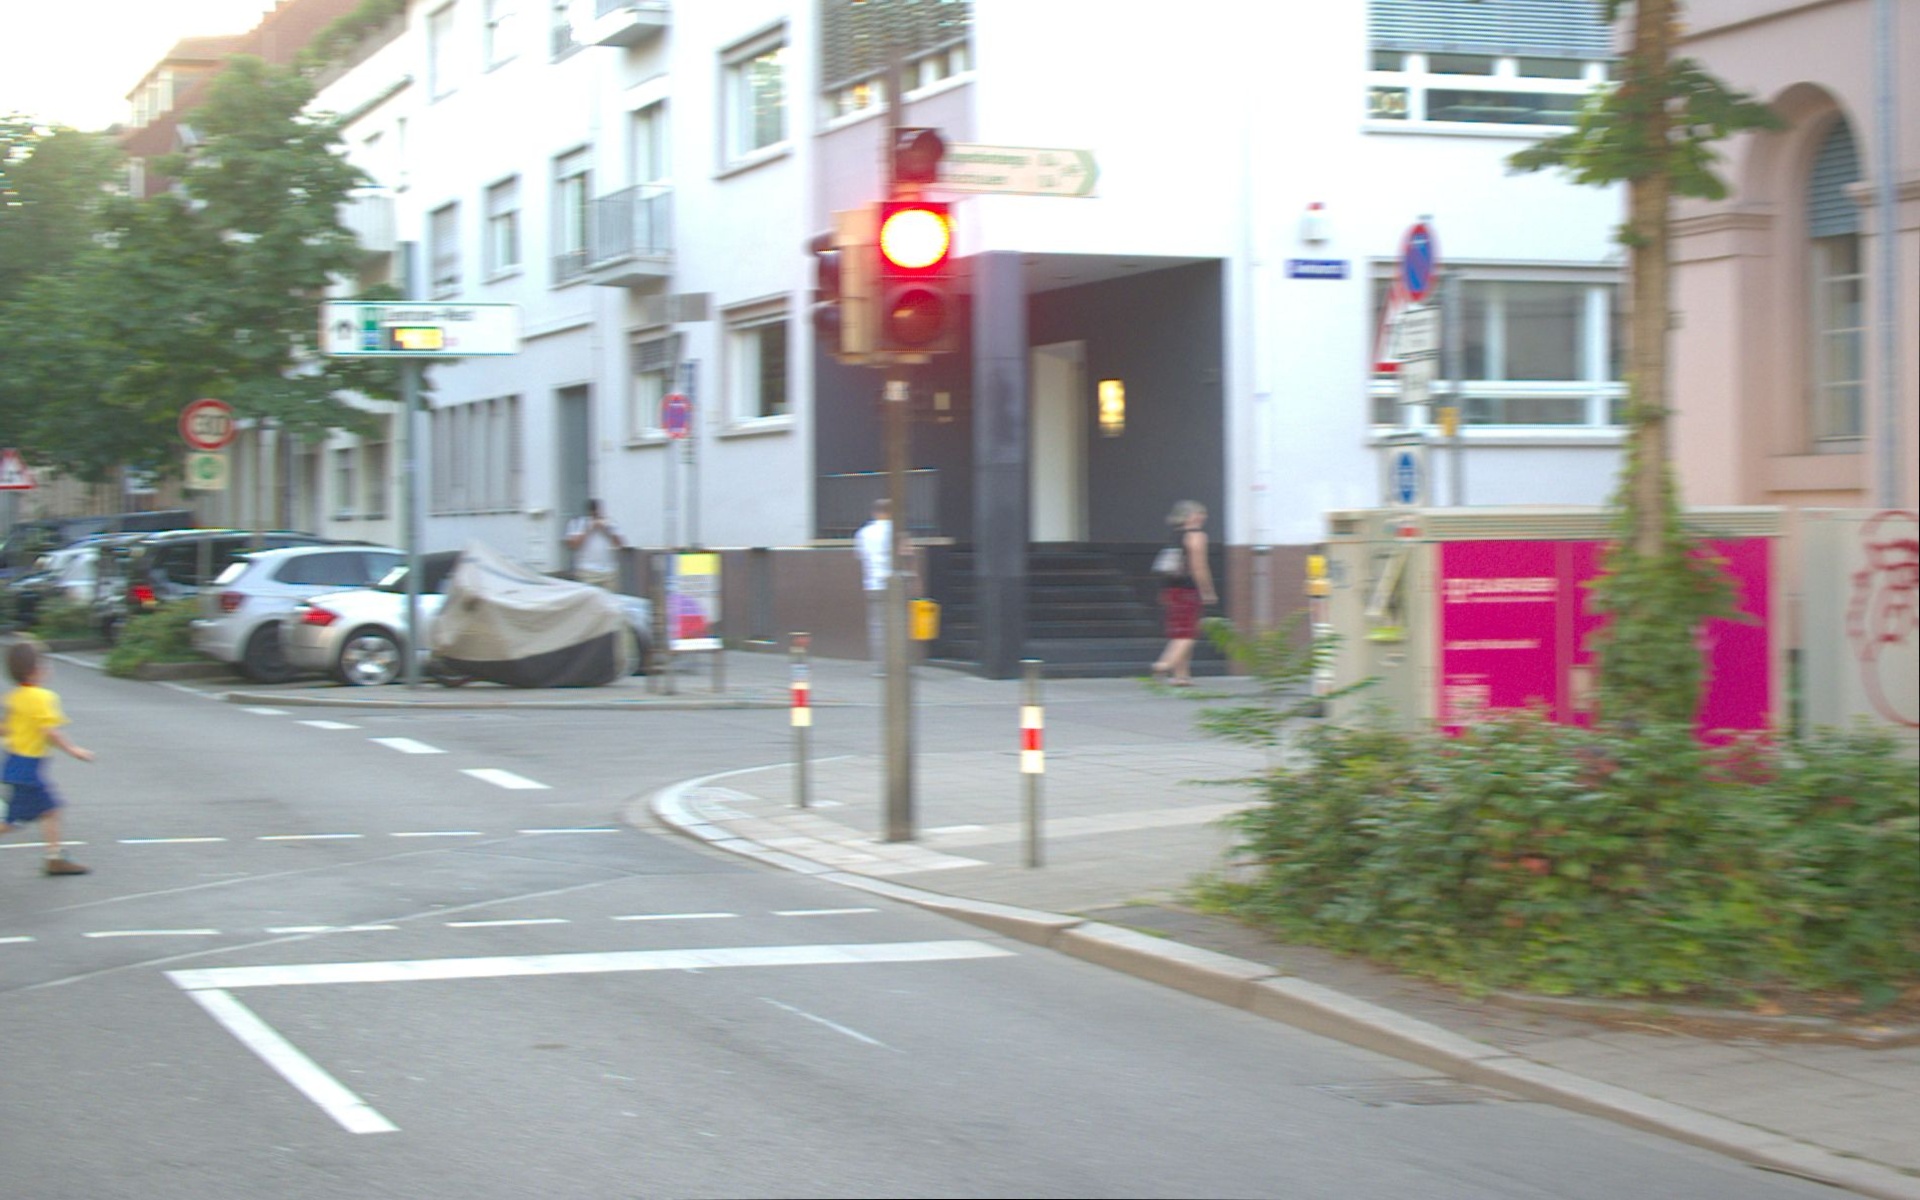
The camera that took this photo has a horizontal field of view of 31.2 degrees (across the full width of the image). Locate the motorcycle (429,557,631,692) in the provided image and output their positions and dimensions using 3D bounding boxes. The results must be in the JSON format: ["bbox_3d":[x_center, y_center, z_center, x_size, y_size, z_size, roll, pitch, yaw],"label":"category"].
[{"bbox_3d":[-3.992,0.217,31.862,1.799,1.195,0.613,-1,1,-11],"label":"motorcycle"}]

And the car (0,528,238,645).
[{"bbox_3d":[-13.884,-0.234,55.733,4.013,1.809,1.707,-1,1,-20],"label":"car"}]

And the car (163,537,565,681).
[{"bbox_3d":[-6.451,0.067,37.173,4.013,1.437,1.707,-1,1,-20],"label":"car"}]

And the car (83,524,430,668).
[{"bbox_3d":[-8.820,-0.075,43.090,4.013,1.684,1.707,-1,1,-20],"label":"car"}]

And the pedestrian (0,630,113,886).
[{"bbox_3d":[-4.269,0.704,15.544,0.834,1.117,0.567,0,1,-15],"label":"pedestrian"}]

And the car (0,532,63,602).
[{"bbox_3d":[-22.828,-0.769,79.225,4.013,1.596,1.707,0,1,-21],"label":"car"}]

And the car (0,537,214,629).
[{"bbox_3d":[-14.825,-0.303,58.390,4.013,1.525,1.707,0,1,-21],"label":"car"}]

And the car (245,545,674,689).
[{"bbox_3d":[-5.079,0.138,34.832,4.013,1.338,1.707,-1,1,-20],"label":"car"}]

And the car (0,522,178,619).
[{"bbox_3d":[-17.031,-0.572,65.381,4.013,1.824,1.707,0,1,-21],"label":"car"}]

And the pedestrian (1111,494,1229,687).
[{"bbox_3d":[1.933,-0.096,31.793,0.768,1.746,0.934,0,1,-20],"label":"pedestrian"}]

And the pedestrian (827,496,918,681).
[{"bbox_3d":[-0.838,-0.120,32.914,0.703,1.746,0.700,0,1,-16],"label":"pedestrian"}]

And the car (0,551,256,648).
[{"bbox_3d":[-13.132,-0.026,53.554,4.013,1.404,1.707,-1,1,-20],"label":"car"}]

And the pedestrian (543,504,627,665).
[{"bbox_3d":[-4.351,-0.189,39.834,0.767,1.835,0.944,0,1,-20],"label":"pedestrian"}]
